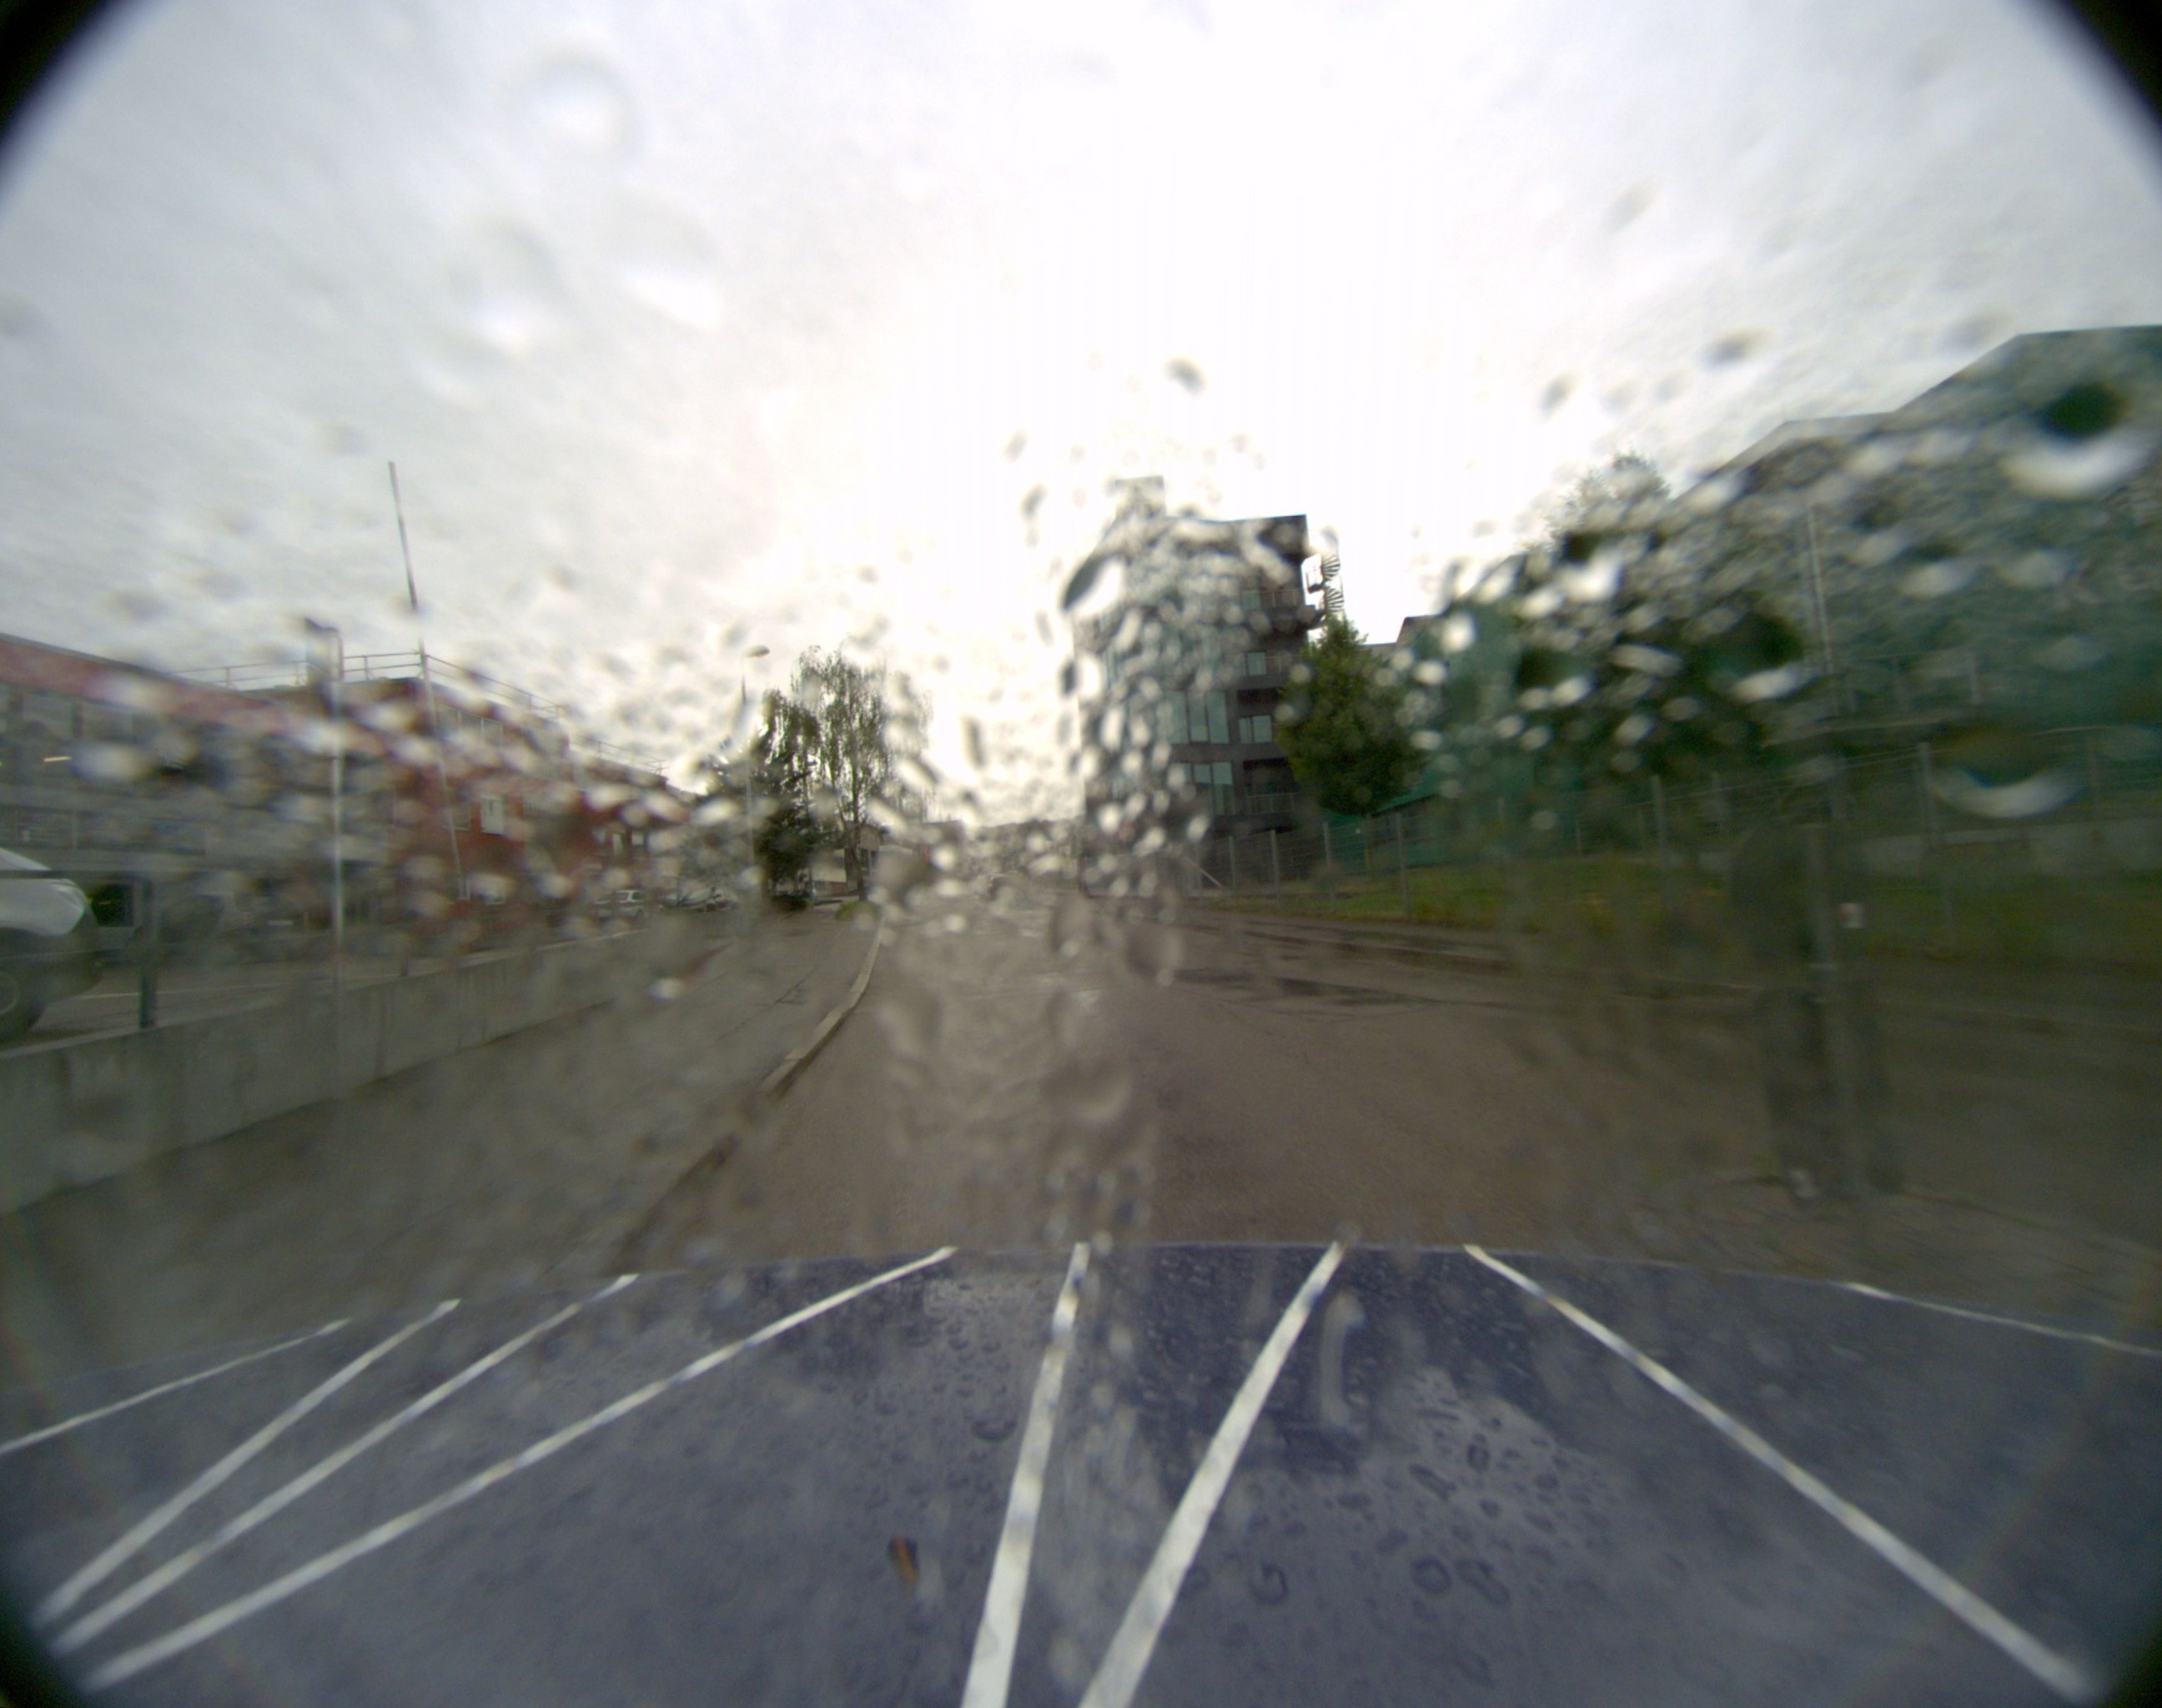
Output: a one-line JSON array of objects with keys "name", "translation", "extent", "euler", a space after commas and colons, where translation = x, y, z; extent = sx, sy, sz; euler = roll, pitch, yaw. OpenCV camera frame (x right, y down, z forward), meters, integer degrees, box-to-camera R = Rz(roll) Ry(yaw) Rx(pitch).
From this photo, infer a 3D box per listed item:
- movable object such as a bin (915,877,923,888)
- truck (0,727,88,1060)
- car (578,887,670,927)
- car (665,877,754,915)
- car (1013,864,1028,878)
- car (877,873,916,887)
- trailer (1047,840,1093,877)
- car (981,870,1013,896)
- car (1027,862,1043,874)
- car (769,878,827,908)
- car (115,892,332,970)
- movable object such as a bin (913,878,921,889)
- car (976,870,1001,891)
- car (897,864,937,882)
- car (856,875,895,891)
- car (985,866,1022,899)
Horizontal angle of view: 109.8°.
[{"name": "movable object such as a bin", "translation": [-16.706, 2.969, 78.282], "extent": [0.736, 1.084, 0.594], "euler": [-3, 0, -5]}, {"name": "truck", "translation": [-7.837, 0.263, 2.515], "extent": [2.112, 2.201, 5.649], "euler": [-3, -1, -9]}, {"name": "car", "translation": [-19.254, 2.187, 32.264], "extent": [1.910, 1.461, 4.326], "euler": [-2, -1, -11]}, {"name": "car", "translation": [-18.829, 2.110, 38.802], "extent": [2.000, 1.569, 4.513], "euler": [-5, -1, 4]}, {"name": "car", "translation": [-8.638, 2.444, 108.235], "extent": [1.999, 1.902, 3.998], "euler": [-3, -1, -5]}, {"name": "car", "translation": [-24.304, 3.414, 100.193], "extent": [4.622, 1.488, 1.941], "euler": [-3, 0, 1]}, {"name": "trailer", "translation": [-1.271, 0.577, 88.492], "extent": [4.687, 4.065, 2.393], "euler": [-3, 0, 39]}, {"name": "car", "translation": [-5.623, 1.875, 50.405], "extent": [1.638, 1.548, 4.080], "euler": [-3, -1, -12]}, {"name": "car", "translation": [-7.799, 2.353, 130.274], "extent": [1.997, 2.001, 4.002], "euler": [-3, -1, 6]}, {"name": "car", "translation": [-21.037, 2.865, 56.571], "extent": [3.443, 1.490, 1.619], "euler": [-12, -1, 4]}, {"name": "car", "translation": [-18.419, 1.621, 16.424], "extent": [2.719, 1.438, 1.678], "euler": [-2, 0, 0]}, {"name": "movable object such as a bin", "translation": [-16.601, 2.961, 76.972], "extent": [0.736, 1.084, 0.594], "euler": [-3, 0, -5]}, {"name": "car", "translation": [-7.480, 2.145, 61.391], "extent": [1.741, 1.527, 4.247], "euler": [-3, -1, -10]}, {"name": "car", "translation": [-23.721, 2.728, 109.887], "extent": [5.151, 2.280, 2.203], "euler": [-3, 0, 3]}, {"name": "car", "translation": [-22.562, 3.194, 83.469], "extent": [3.749, 1.531, 1.631], "euler": [-3, 0, -1]}, {"name": "car", "translation": [-4.635, 1.653, 45.215], "extent": [1.745, 1.786, 3.955], "euler": [-3, -1, -11]}]
